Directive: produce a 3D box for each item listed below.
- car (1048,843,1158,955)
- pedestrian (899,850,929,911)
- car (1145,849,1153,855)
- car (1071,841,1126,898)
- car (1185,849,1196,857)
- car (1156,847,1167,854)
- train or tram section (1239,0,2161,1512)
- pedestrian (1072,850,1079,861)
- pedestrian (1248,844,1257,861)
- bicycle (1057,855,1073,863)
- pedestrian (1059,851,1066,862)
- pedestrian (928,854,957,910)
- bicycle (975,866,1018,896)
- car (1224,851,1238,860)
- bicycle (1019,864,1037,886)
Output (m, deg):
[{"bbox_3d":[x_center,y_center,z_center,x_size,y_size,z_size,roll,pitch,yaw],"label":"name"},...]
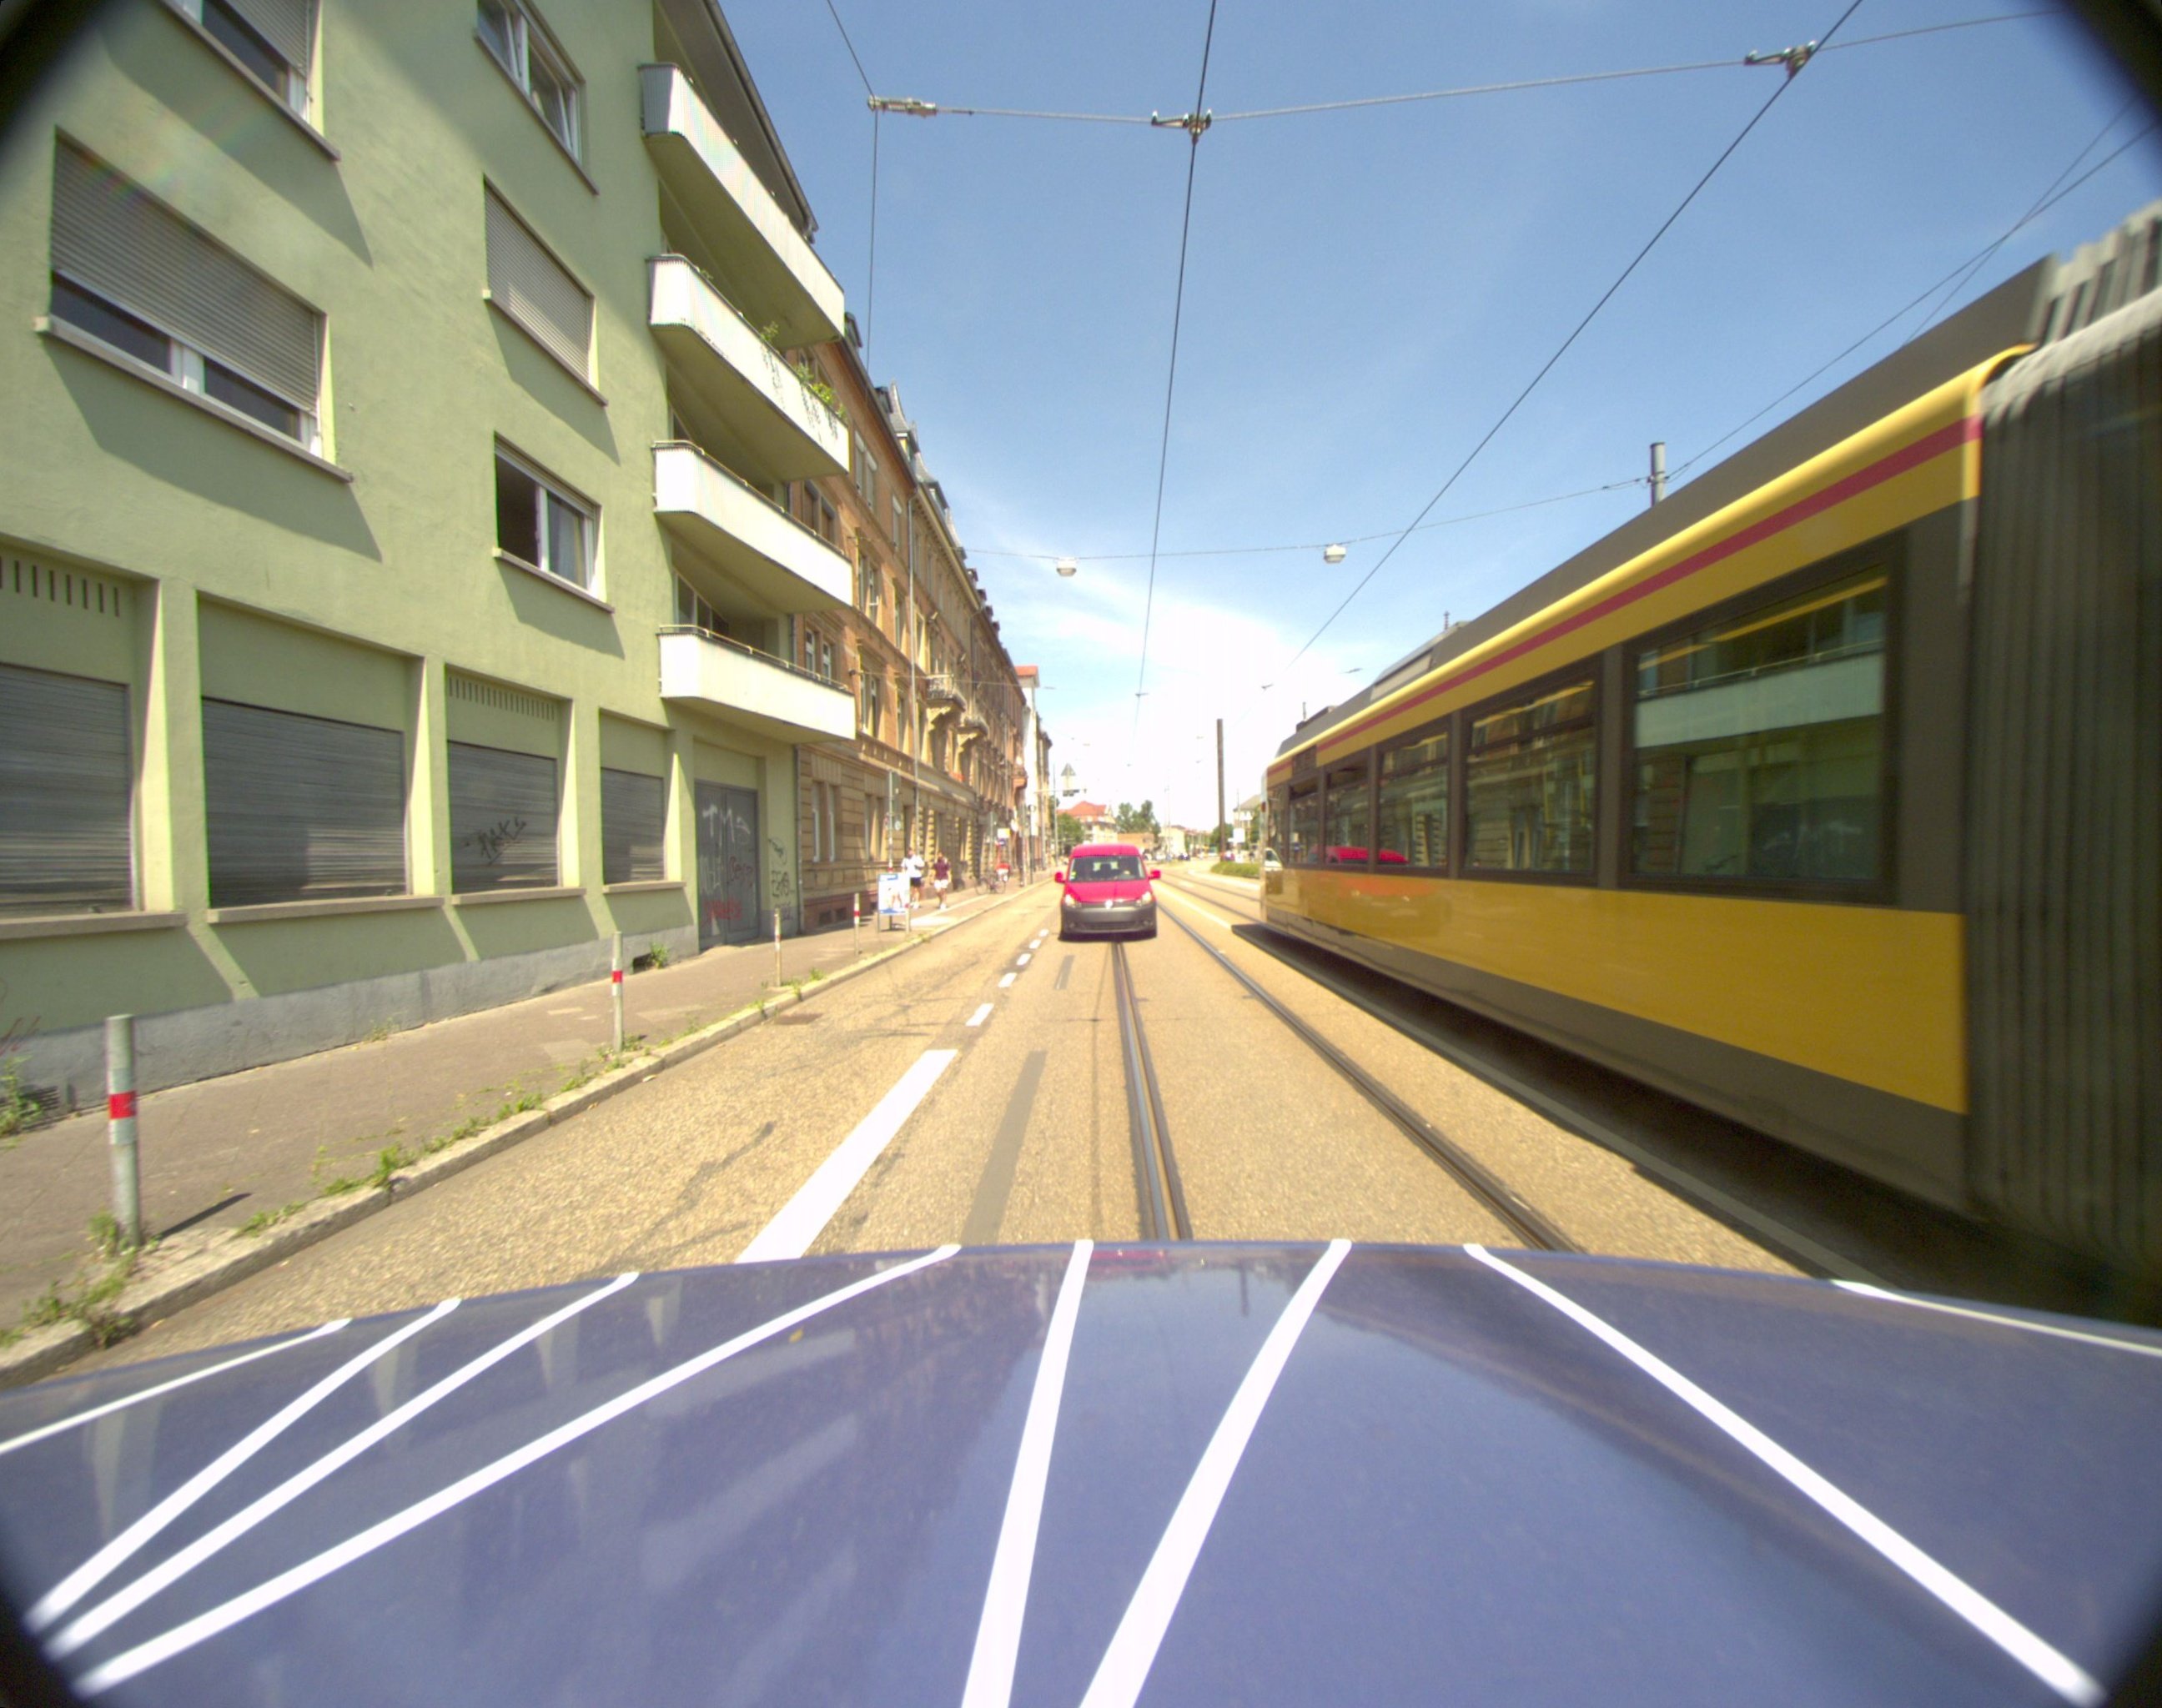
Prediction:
[{"bbox_3d":[0.534,0.731,14.510,1.755,1.802,4.098,-2,0,5],"label":"car"},{"bbox_3d":[-5.193,0.821,23.642,0.704,1.838,0.644,2,1,3],"label":"pedestrian"},{"bbox_3d":[16.729,-0.487,185.919,1.675,1.453,3.904,-1,0,2],"label":"car"},{"bbox_3d":[0.685,0.525,28.599,1.874,1.954,3.823,-2,0,2],"label":"car"},{"bbox_3d":[21.652,-0.243,150.680,1.826,1.617,4.526,0,0,5],"label":"car"},{"bbox_3d":[18.600,-0.801,175.625,1.998,1.521,5.131,0,1,2],"label":"car"},{"bbox_3d":[4.108,-0.282,6.404,2.968,3.559,13.423,-2,0,1],"label":"train or tram section"},{"bbox_3d":[-0.910,0.261,125.349,0.808,1.769,0.876,-1,1,34],"label":"pedestrian"},{"bbox_3d":[16.823,-0.122,74.572,0.729,1.632,0.820,-1,1,5],"label":"pedestrian"},{"bbox_3d":[-2.540,0.739,121.575,2.225,1.243,1.096,-2,0,-42],"label":"bicycle"},{"bbox_3d":[-2.953,0.445,121.170,0.826,1.765,0.812,-3,2,-42],"label":"pedestrian"},{"bbox_3d":[-4.274,0.862,23.504,0.722,1.710,0.644,-1,1,3],"label":"pedestrian"},{"bbox_3d":[-3.501,1.099,31.654,0.499,1.124,2.247,-1,1,30],"label":"bicycle"},{"bbox_3d":[26.458,0.240,133.980,1.762,1.359,4.289,-2,0,3],"label":"car"},{"bbox_3d":[-2.760,1.073,39.573,0.448,1.090,2.424,-1,0,7],"label":"bicycle"}]
